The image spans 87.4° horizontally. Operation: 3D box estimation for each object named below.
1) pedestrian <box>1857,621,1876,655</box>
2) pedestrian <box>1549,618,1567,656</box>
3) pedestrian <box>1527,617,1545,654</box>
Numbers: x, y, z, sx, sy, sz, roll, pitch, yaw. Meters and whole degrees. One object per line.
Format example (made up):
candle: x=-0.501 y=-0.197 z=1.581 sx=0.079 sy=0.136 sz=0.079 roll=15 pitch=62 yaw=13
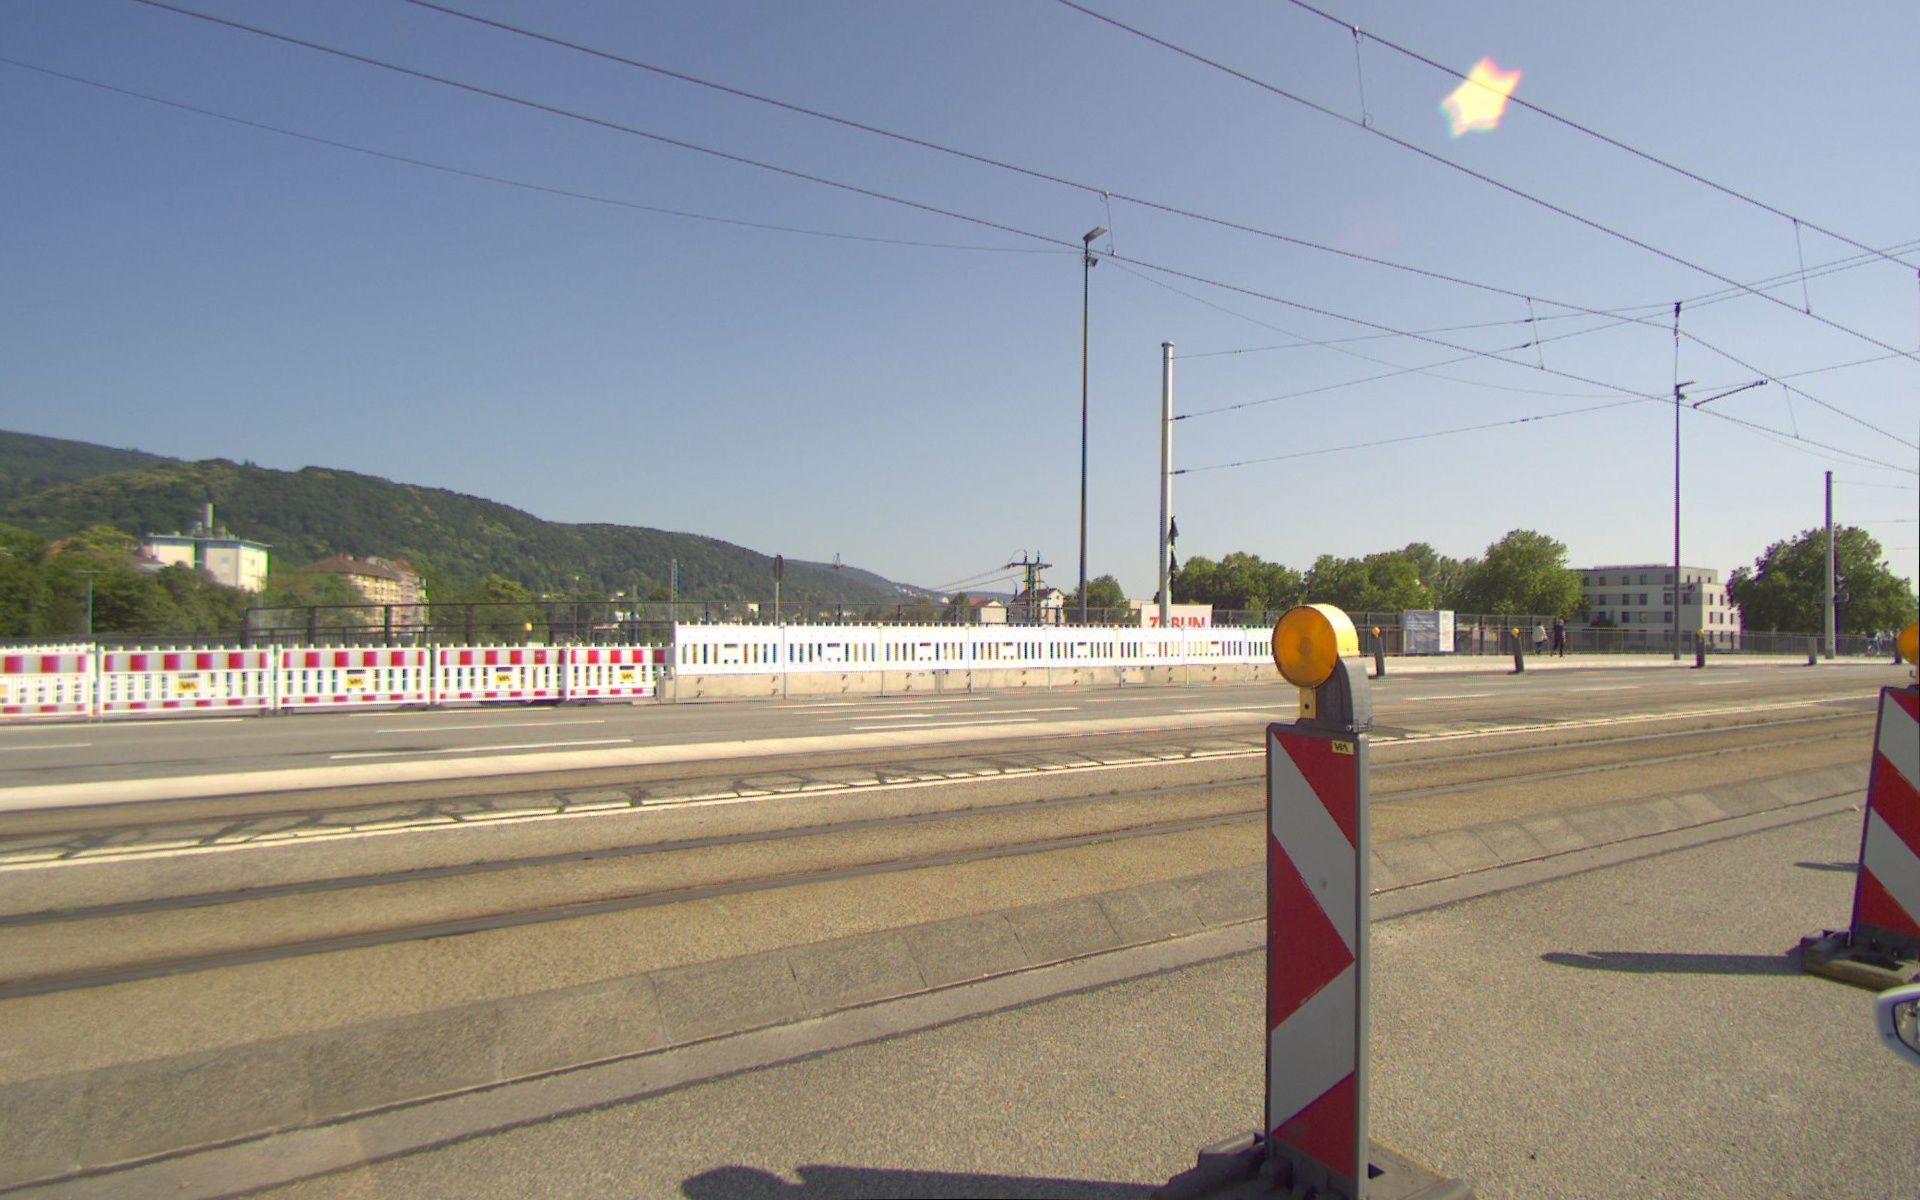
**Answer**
pedestrian: x=52.781 y=2.206 z=58.483 sx=0.743 sy=1.919 sz=0.631 roll=1 pitch=0 yaw=-30
pedestrian: x=27.101 y=1.677 z=45.522 sx=0.468 sy=1.717 sz=0.493 roll=2 pitch=0 yaw=-30
pedestrian: x=26.623 y=1.633 z=46.432 sx=0.468 sy=1.717 sz=0.493 roll=2 pitch=0 yaw=-30
